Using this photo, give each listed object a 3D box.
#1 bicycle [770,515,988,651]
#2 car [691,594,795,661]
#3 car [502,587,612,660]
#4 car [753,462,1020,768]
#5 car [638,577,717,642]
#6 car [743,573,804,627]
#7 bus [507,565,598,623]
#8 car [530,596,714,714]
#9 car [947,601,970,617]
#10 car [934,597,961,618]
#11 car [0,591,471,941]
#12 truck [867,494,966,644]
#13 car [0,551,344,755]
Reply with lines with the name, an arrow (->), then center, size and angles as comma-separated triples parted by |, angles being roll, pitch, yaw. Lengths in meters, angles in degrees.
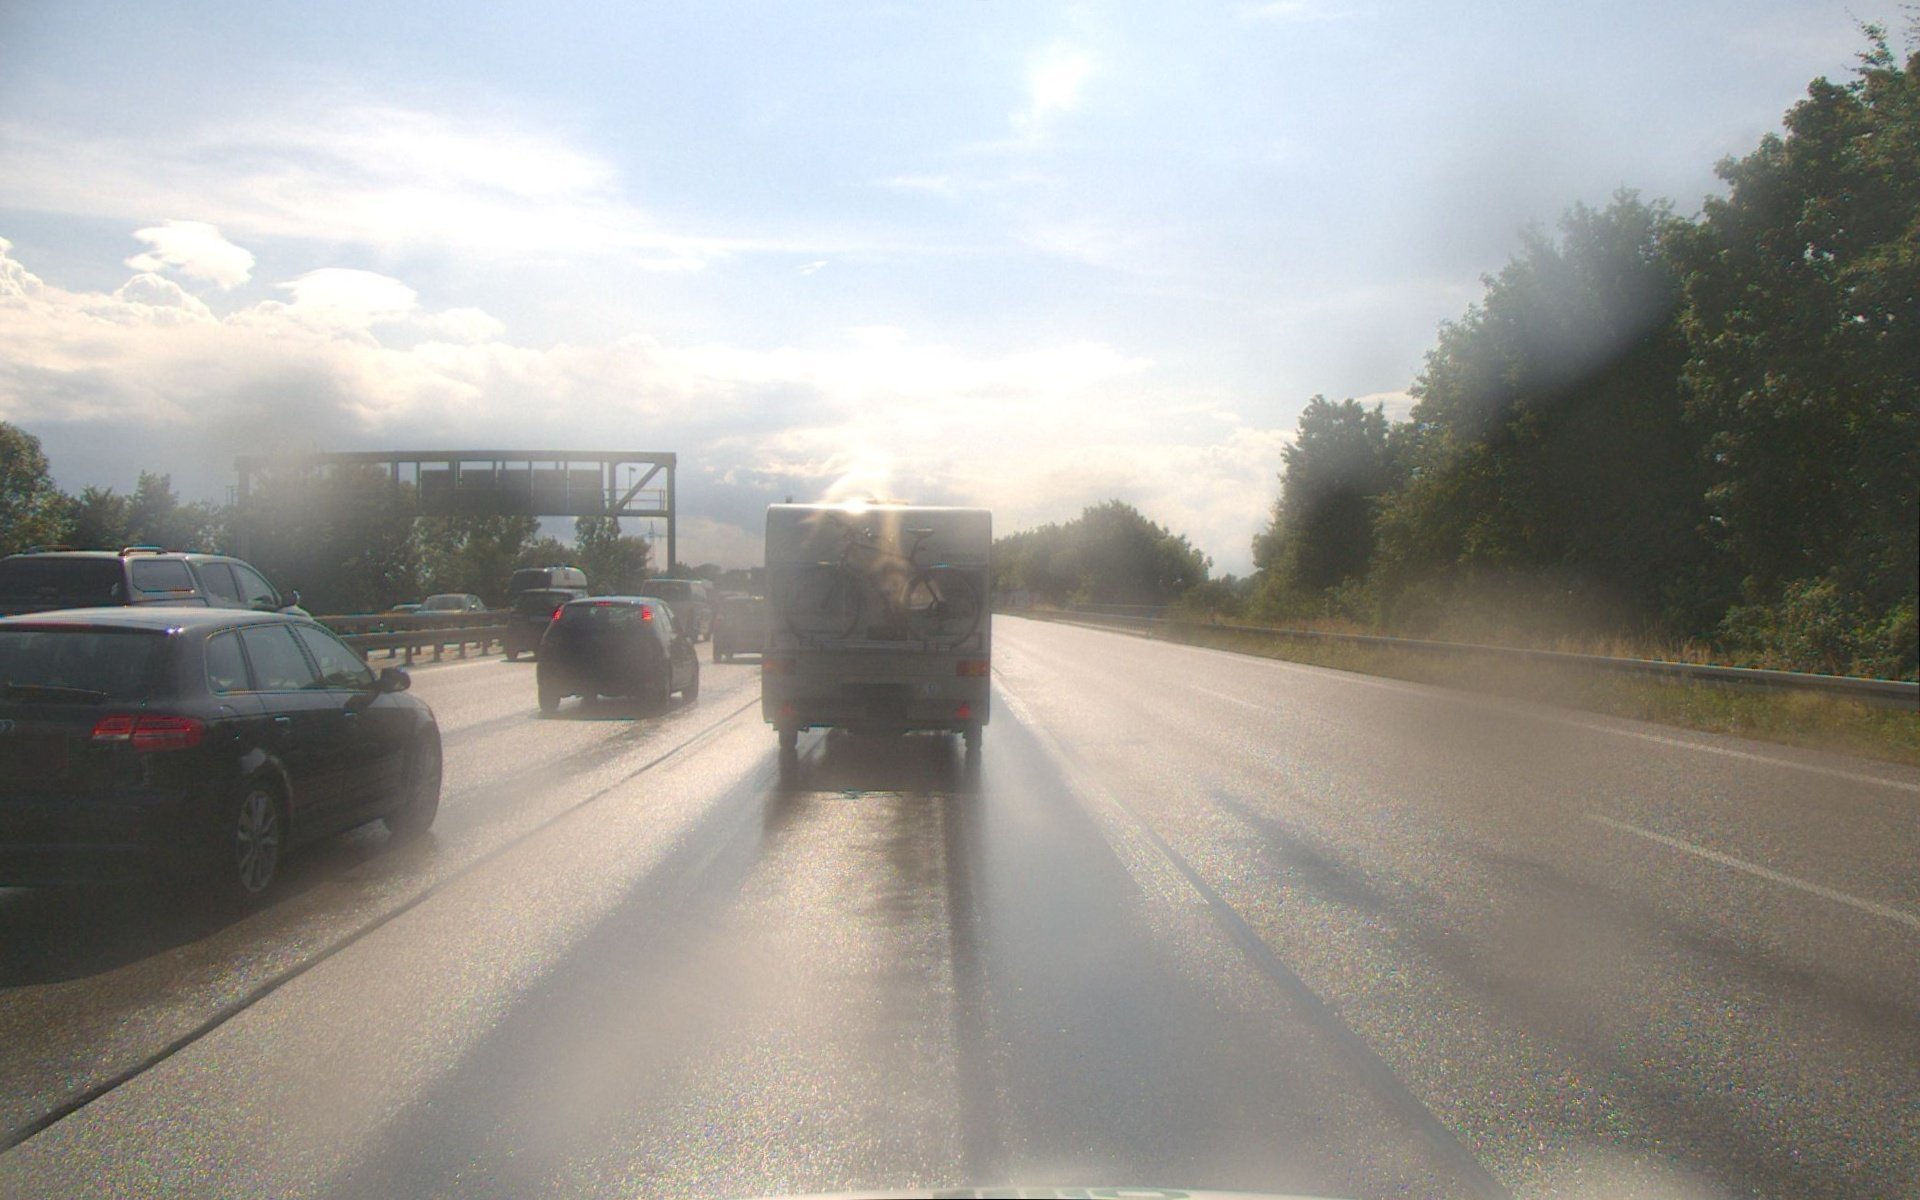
bicycle -> -0.706, -0.151, 14.677 | 1.894, 1.161, 0.384 | 1, -1, 0
car -> -5.084, 0.613, 39.202 | 1.947, 1.483, 3.826 | 1, 0, 0
car -> -9.348, 0.524, 38.632 | 1.747, 1.606, 3.914 | 1, 0, -2
car -> -0.672, 0.145, 16.887 | 2.361, 2.721, 3.999 | 1, 0, 0
car -> -9.072, 0.284, 53.543 | 1.810, 1.967, 5.014 | 1, 0, -2
car -> -6.055, -0.004, 54.086 | 1.655, 1.691, 3.639 | 0, 0, -1
bus -> -25.504, -0.374, 104.231 | 2.832, 3.433, 12.468 | 1, 0, -1
car -> -4.547, 0.690, 22.795 | 1.723, 1.468, 4.000 | 1, 0, 0
car -> -0.168, 0.862, 161.064 | 1.840, 1.521, 3.996 | 1, 0, -5
car -> -1.009, 0.602, 129.372 | 1.799, 1.585, 3.996 | 1, 0, -5
car -> -4.097, 0.690, 8.963 | 1.714, 1.458, 4.053 | 1, 0, -1
truck -> -1.559, -0.984, 57.735 | 3.083, 4.707, 10.731 | 0, 0, -2
car -> -8.606, 0.478, 18.037 | 1.770, 1.876, 5.417 | 1, 0, 0
